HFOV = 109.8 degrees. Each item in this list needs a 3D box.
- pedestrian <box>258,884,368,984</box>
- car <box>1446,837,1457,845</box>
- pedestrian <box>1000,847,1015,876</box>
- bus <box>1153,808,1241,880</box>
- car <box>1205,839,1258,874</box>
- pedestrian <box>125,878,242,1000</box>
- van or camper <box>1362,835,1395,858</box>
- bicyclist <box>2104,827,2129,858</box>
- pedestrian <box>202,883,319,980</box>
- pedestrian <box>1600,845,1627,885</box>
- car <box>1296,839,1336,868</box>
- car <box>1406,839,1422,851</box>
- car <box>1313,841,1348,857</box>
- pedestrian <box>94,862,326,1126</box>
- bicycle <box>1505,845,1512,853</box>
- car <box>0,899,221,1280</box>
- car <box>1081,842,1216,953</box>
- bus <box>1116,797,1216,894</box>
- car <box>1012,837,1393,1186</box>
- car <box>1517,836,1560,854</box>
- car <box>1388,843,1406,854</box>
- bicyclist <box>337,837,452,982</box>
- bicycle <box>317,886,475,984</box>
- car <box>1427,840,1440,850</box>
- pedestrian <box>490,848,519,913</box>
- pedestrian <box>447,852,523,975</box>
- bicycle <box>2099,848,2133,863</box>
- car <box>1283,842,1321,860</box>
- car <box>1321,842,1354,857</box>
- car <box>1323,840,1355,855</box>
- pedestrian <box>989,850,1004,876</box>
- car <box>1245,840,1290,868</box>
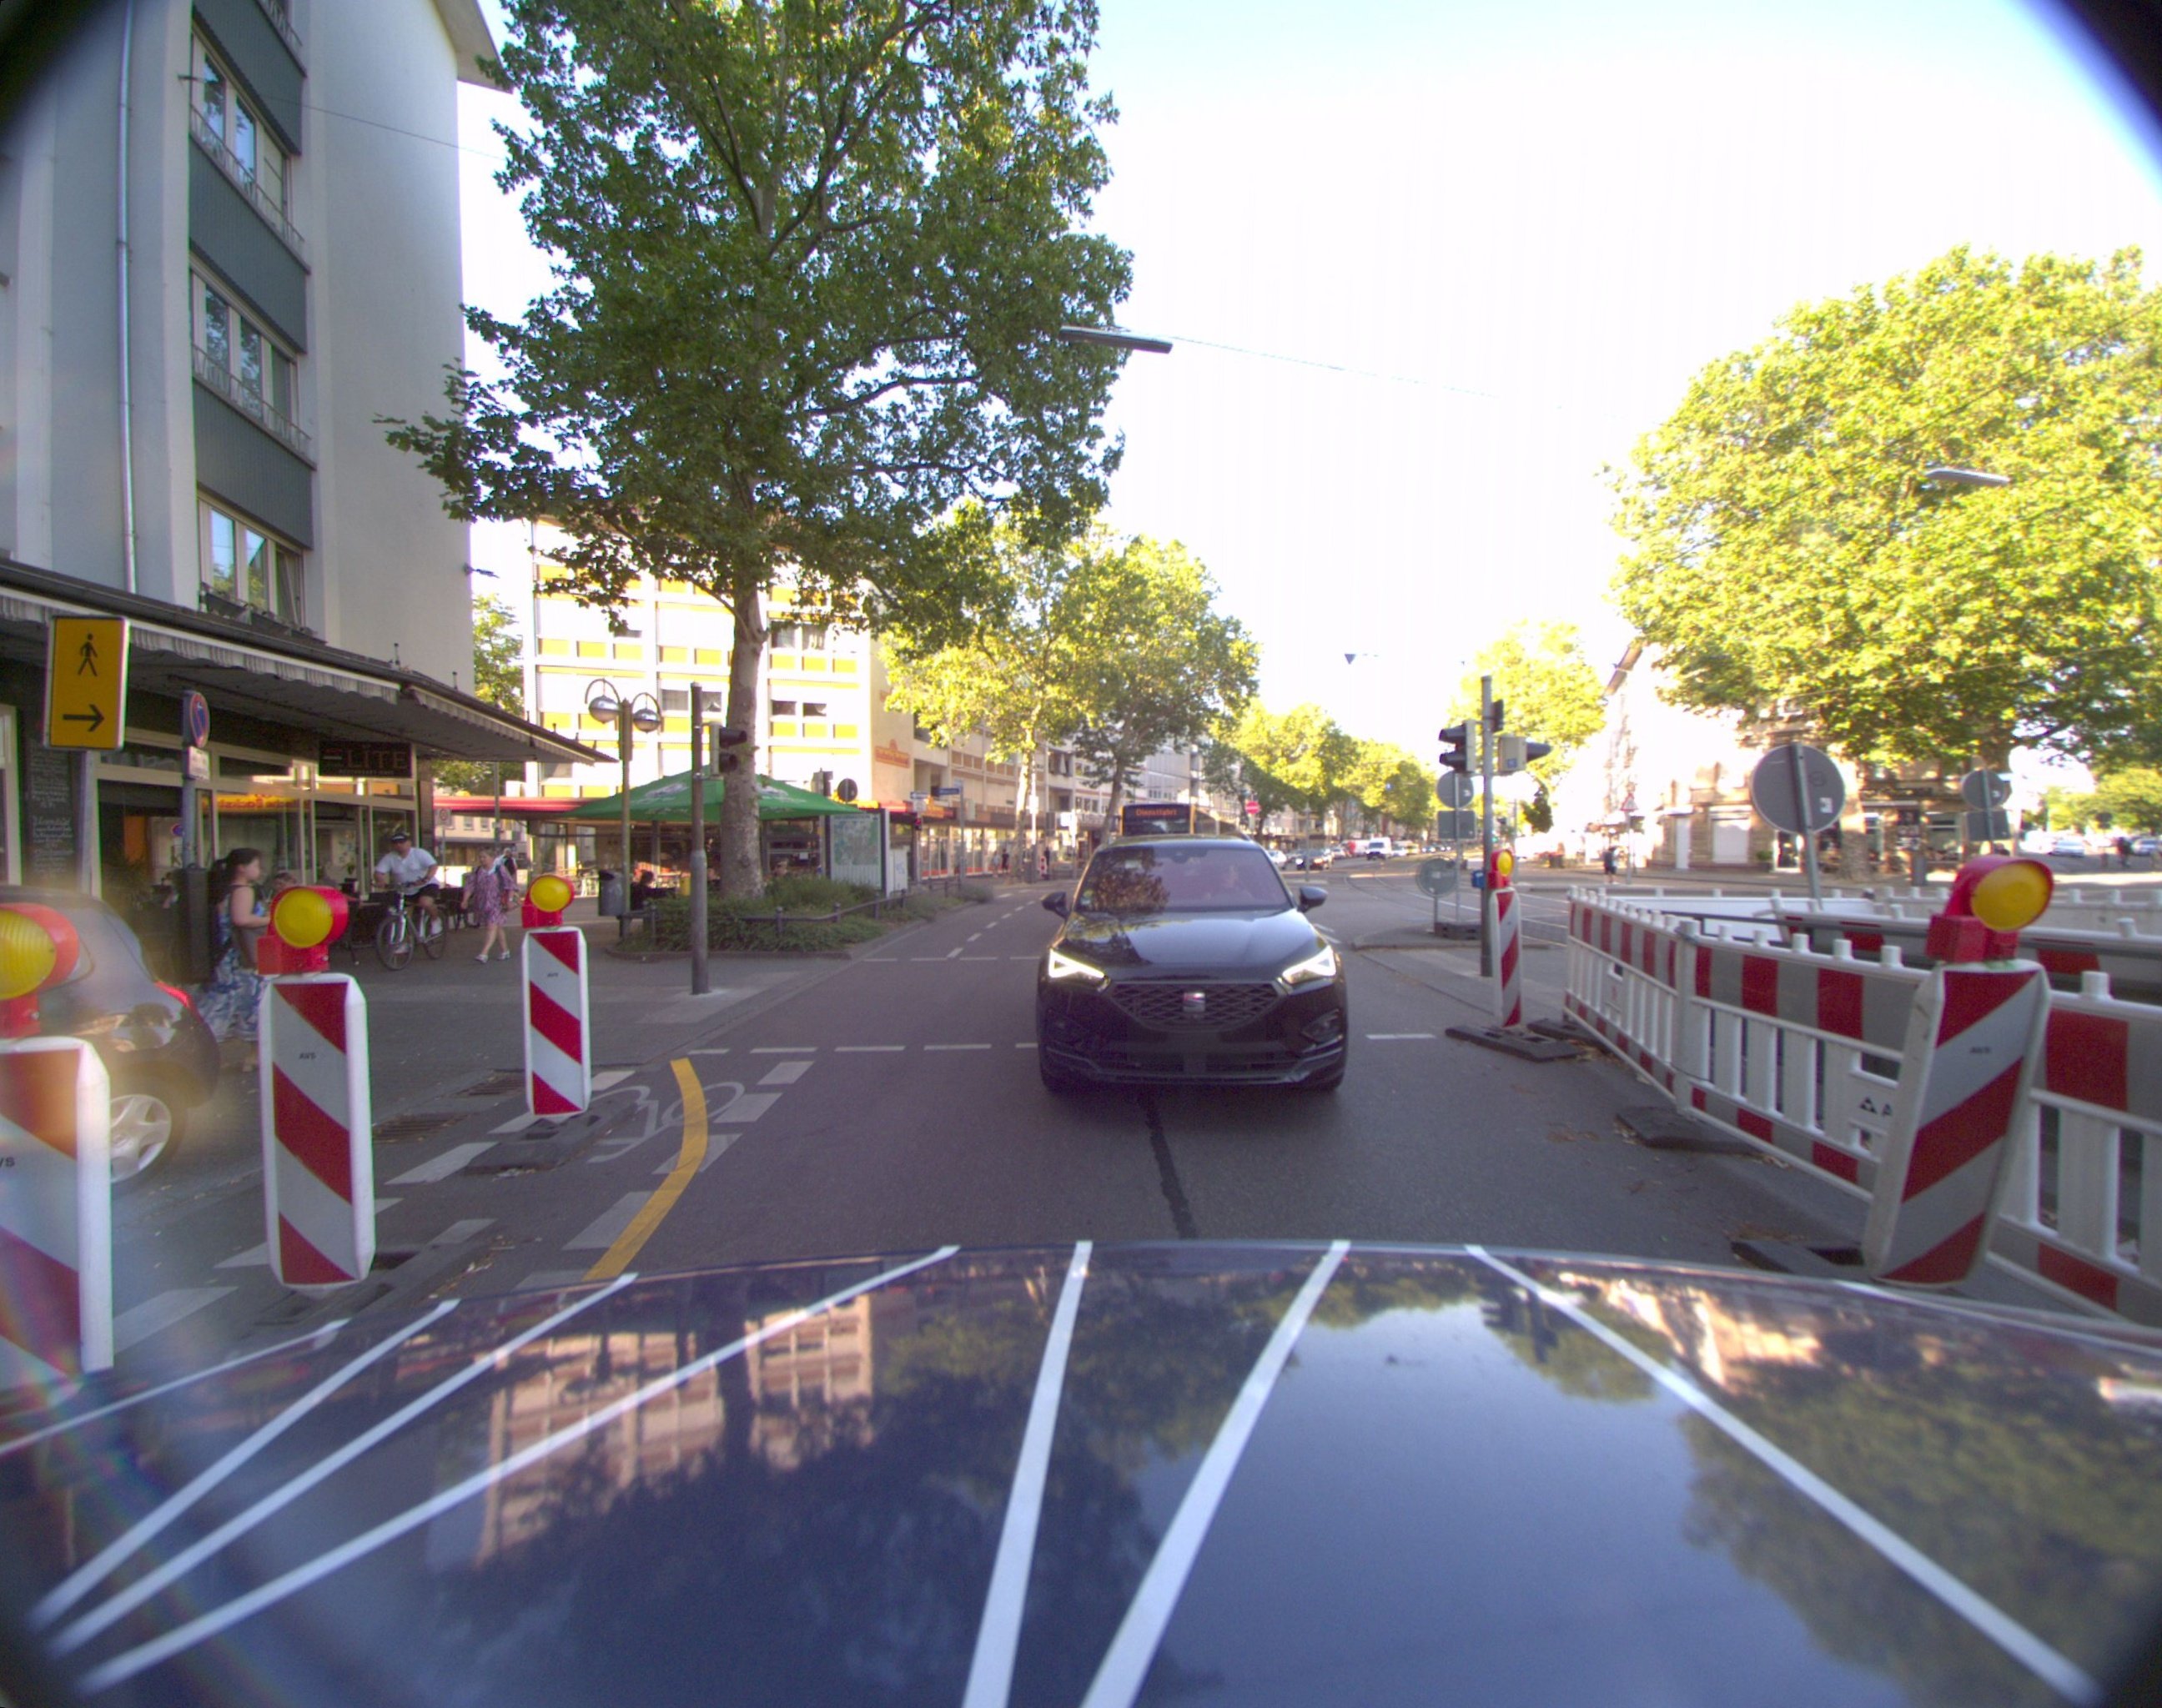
[{"bbox_3d":[-9.849,0.994,9.754,0.877,1.186,0.701,0,1,24],"label":"pedestrian"},{"bbox_3d":[82.534,-2.879,169.232,1.836,1.792,4.138,0,1,31],"label":"car"},{"bbox_3d":[-4.095,0.413,42.408,0.627,1.577,0.532,0,1,20],"label":"pedestrian"},{"bbox_3d":[5.874,-0.460,37.129,2.717,3.088,8.608,0,1,19],"label":"bus"},{"bbox_3d":[9.227,0.107,46.314,1.995,2.002,4.105,0,1,29],"label":"car"},{"bbox_3d":[-10.443,0.952,8.851,0.789,1.299,0.701,0,1,28],"label":"pedestrian"},{"bbox_3d":[35.203,-0.905,89.801,2.420,2.702,6.144,0,1,32],"label":"van or camper"},{"bbox_3d":[59.011,-0.646,43.291,0.766,1.718,0.672,-1,1,-23],"label":"bicyclist"},{"bbox_3d":[-10.767,0.996,9.993,0.647,1.186,0.792,0,1,7],"label":"pedestrian"},{"bbox_3d":[20.350,0.408,29.032,0.603,1.524,0.745,0,1,12],"label":"pedestrian"},{"bbox_3d":[16.635,-0.048,53.609,1.995,2.002,4.007,0,1,27],"label":"car"},{"bbox_3d":[50.778,-1.379,115.801,1.836,1.792,4.138,0,1,31],"label":"car"},{"bbox_3d":[32.404,-0.705,98.853,3.994,2.002,2.001,-1,1,8],"label":"car"},{"bbox_3d":[-5.874,0.888,5.181,0.583,1.637,0.796,-1,2,-1],"label":"pedestrian"},{"bbox_3d":[65.288,-0.733,116.020,0.850,1.186,2.470,0,1,28],"label":"bicycle"},{"bbox_3d":[-5.210,0.977,2.025,1.771,1.459,3.610,2,1,-2],"label":"car"},{"bbox_3d":[1.041,0.628,13.360,1.998,1.634,4.075,-1,1,1],"label":"car"},{"bbox_3d":[3.482,-0.313,28.718,2.718,3.088,8.629,0,1,13],"label":"bus"},{"bbox_3d":[0.624,0.752,5.700,1.841,1.696,4.000,-1,1,1],"label":"car"},{"bbox_3d":[52.511,-1.019,87.218,4.001,2.002,1.997,-1,1,-13],"label":"car"},{"bbox_3d":[42.594,-0.766,102.368,1.700,1.462,3.771,0,1,31],"label":"car"},{"bbox_3d":[-8.987,0.683,9.992,0.754,1.816,0.924,0,2,-15],"label":"bicyclist"},{"bbox_3d":[-9.035,1.027,10.141,0.752,1.123,1.884,2,-2,-15],"label":"bicycle"},{"bbox_3d":[63.865,-1.693,137.637,1.836,1.792,4.138,0,1,31],"label":"car"},{"bbox_3d":[-17.677,0.781,23.275,0.650,1.948,0.887,-1,1,-38],"label":"pedestrian"},{"bbox_3d":[-8.174,0.791,10.449,0.629,1.628,0.531,-1,1,-15],"label":"pedestrian"},{"bbox_3d":[58.956,0.081,43.285,1.993,0.777,0.680,-1,1,-23],"label":"bicycle"},{"bbox_3d":[24.868,-0.370,85.394,3.991,2.002,2.003,0,1,18],"label":"car"},{"bbox_3d":[34.991,-0.646,103.740,3.994,2.002,2.001,-1,1,8],"label":"car"},{"bbox_3d":[36.587,-0.920,107.960,3.994,2.002,2.001,-1,1,8],"label":"car"},{"bbox_3d":[-4.744,0.499,42.620,0.627,1.429,0.532,0,1,20],"label":"pedestrian"},{"bbox_3d":[13.637,-0.018,55.414,1.994,2.002,4.008,0,1,33],"label":"car"}]
